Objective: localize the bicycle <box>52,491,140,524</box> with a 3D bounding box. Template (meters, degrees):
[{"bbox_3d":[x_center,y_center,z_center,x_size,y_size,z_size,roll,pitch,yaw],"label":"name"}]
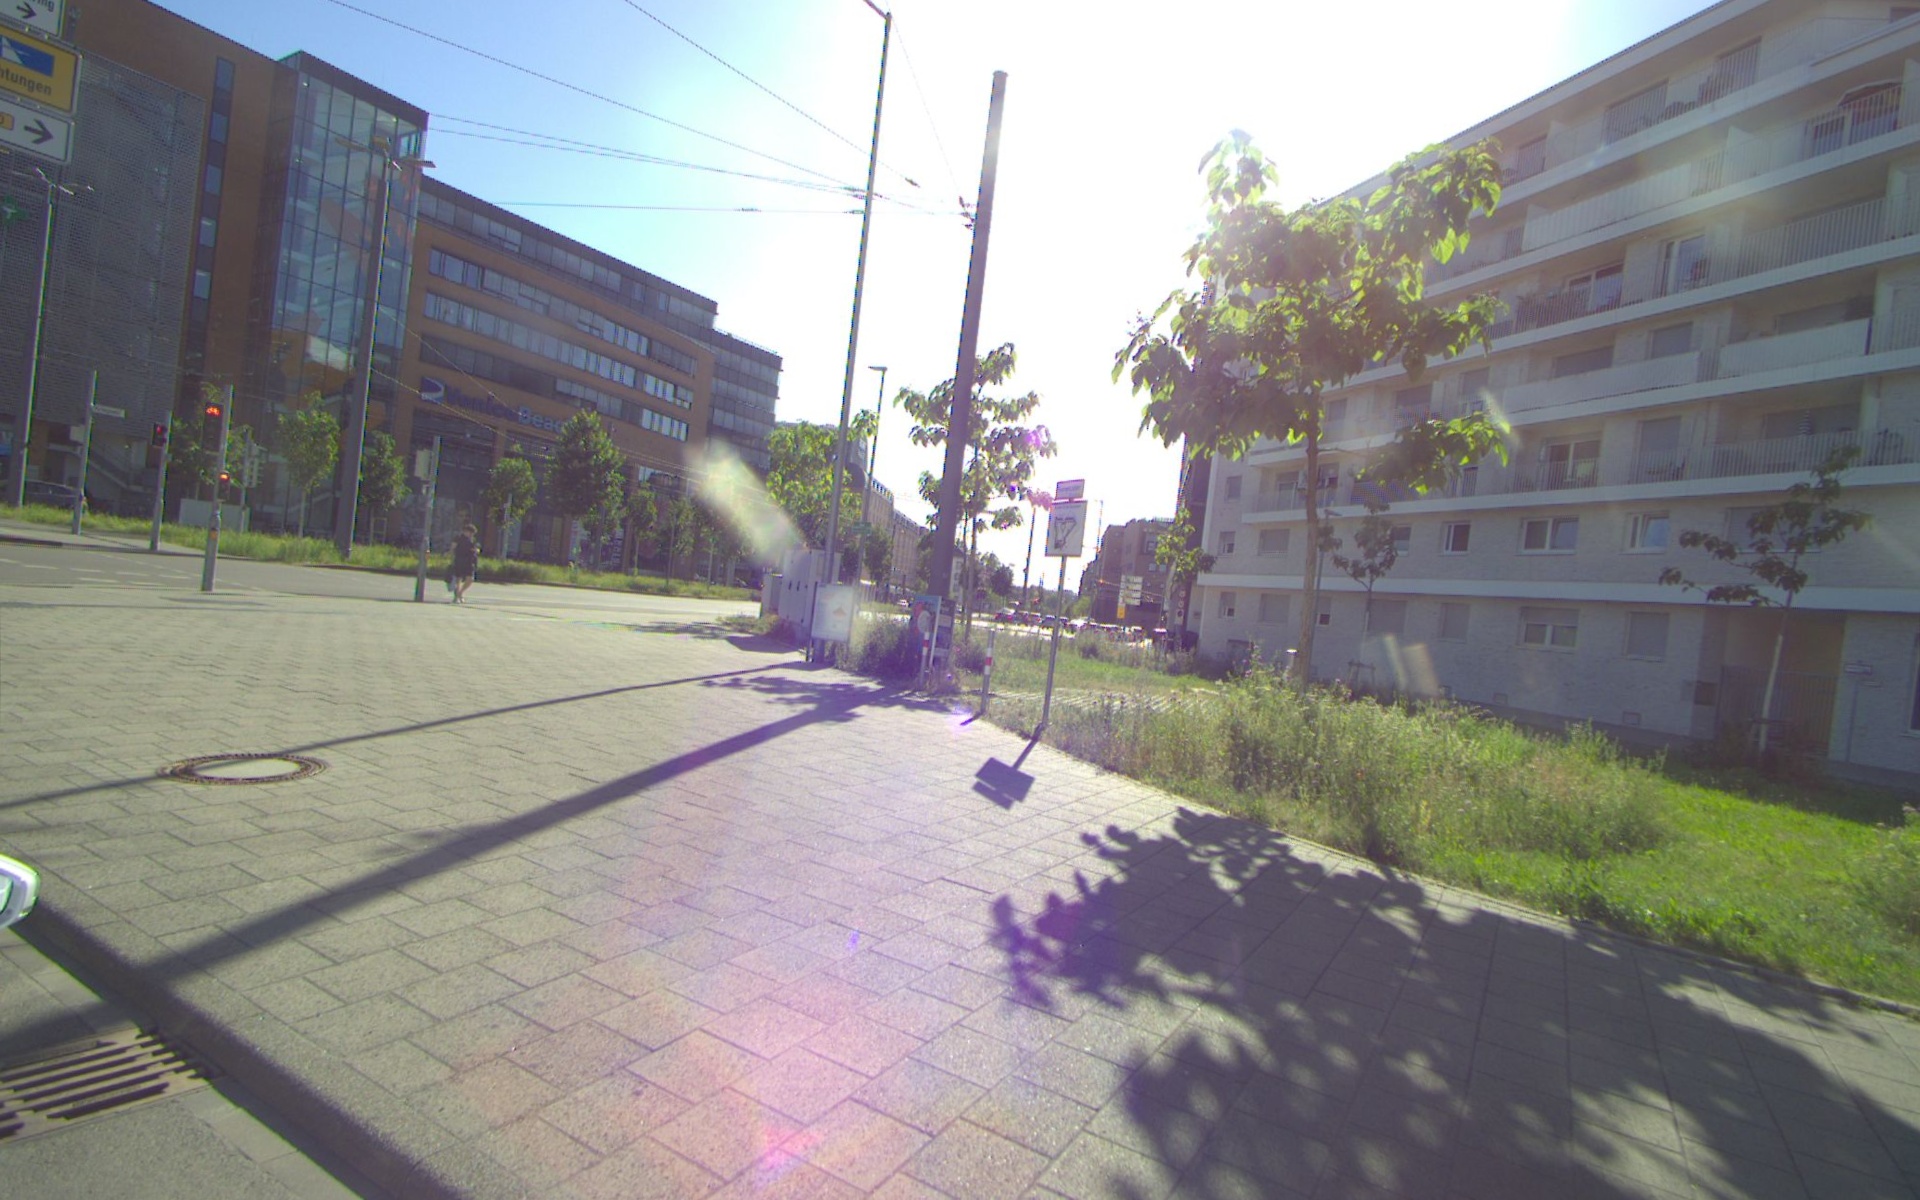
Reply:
[{"bbox_3d":[-45.993,-4.912,53.592,1.100,1.090,3.361,8,-1,37],"label":"bicycle"}]

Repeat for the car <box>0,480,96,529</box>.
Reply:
[{"bbox_3d":[-36.873,-3.853,39.243,1.470,1.513,4.492,7,0,31],"label":"car"}]

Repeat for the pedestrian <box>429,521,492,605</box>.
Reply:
[{"bbox_3d":[-11.014,-0.810,22.197,0.749,1.730,0.807,7,1,31],"label":"pedestrian"}]

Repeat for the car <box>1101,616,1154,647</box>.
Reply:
[{"bbox_3d":[14.070,2.647,84.804,3.926,2.038,2.000,7,0,0],"label":"car"}]

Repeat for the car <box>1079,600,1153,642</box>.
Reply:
[{"bbox_3d":[9.460,1.258,61.253,3.929,2.038,1.998,7,0,-5],"label":"car"}]
